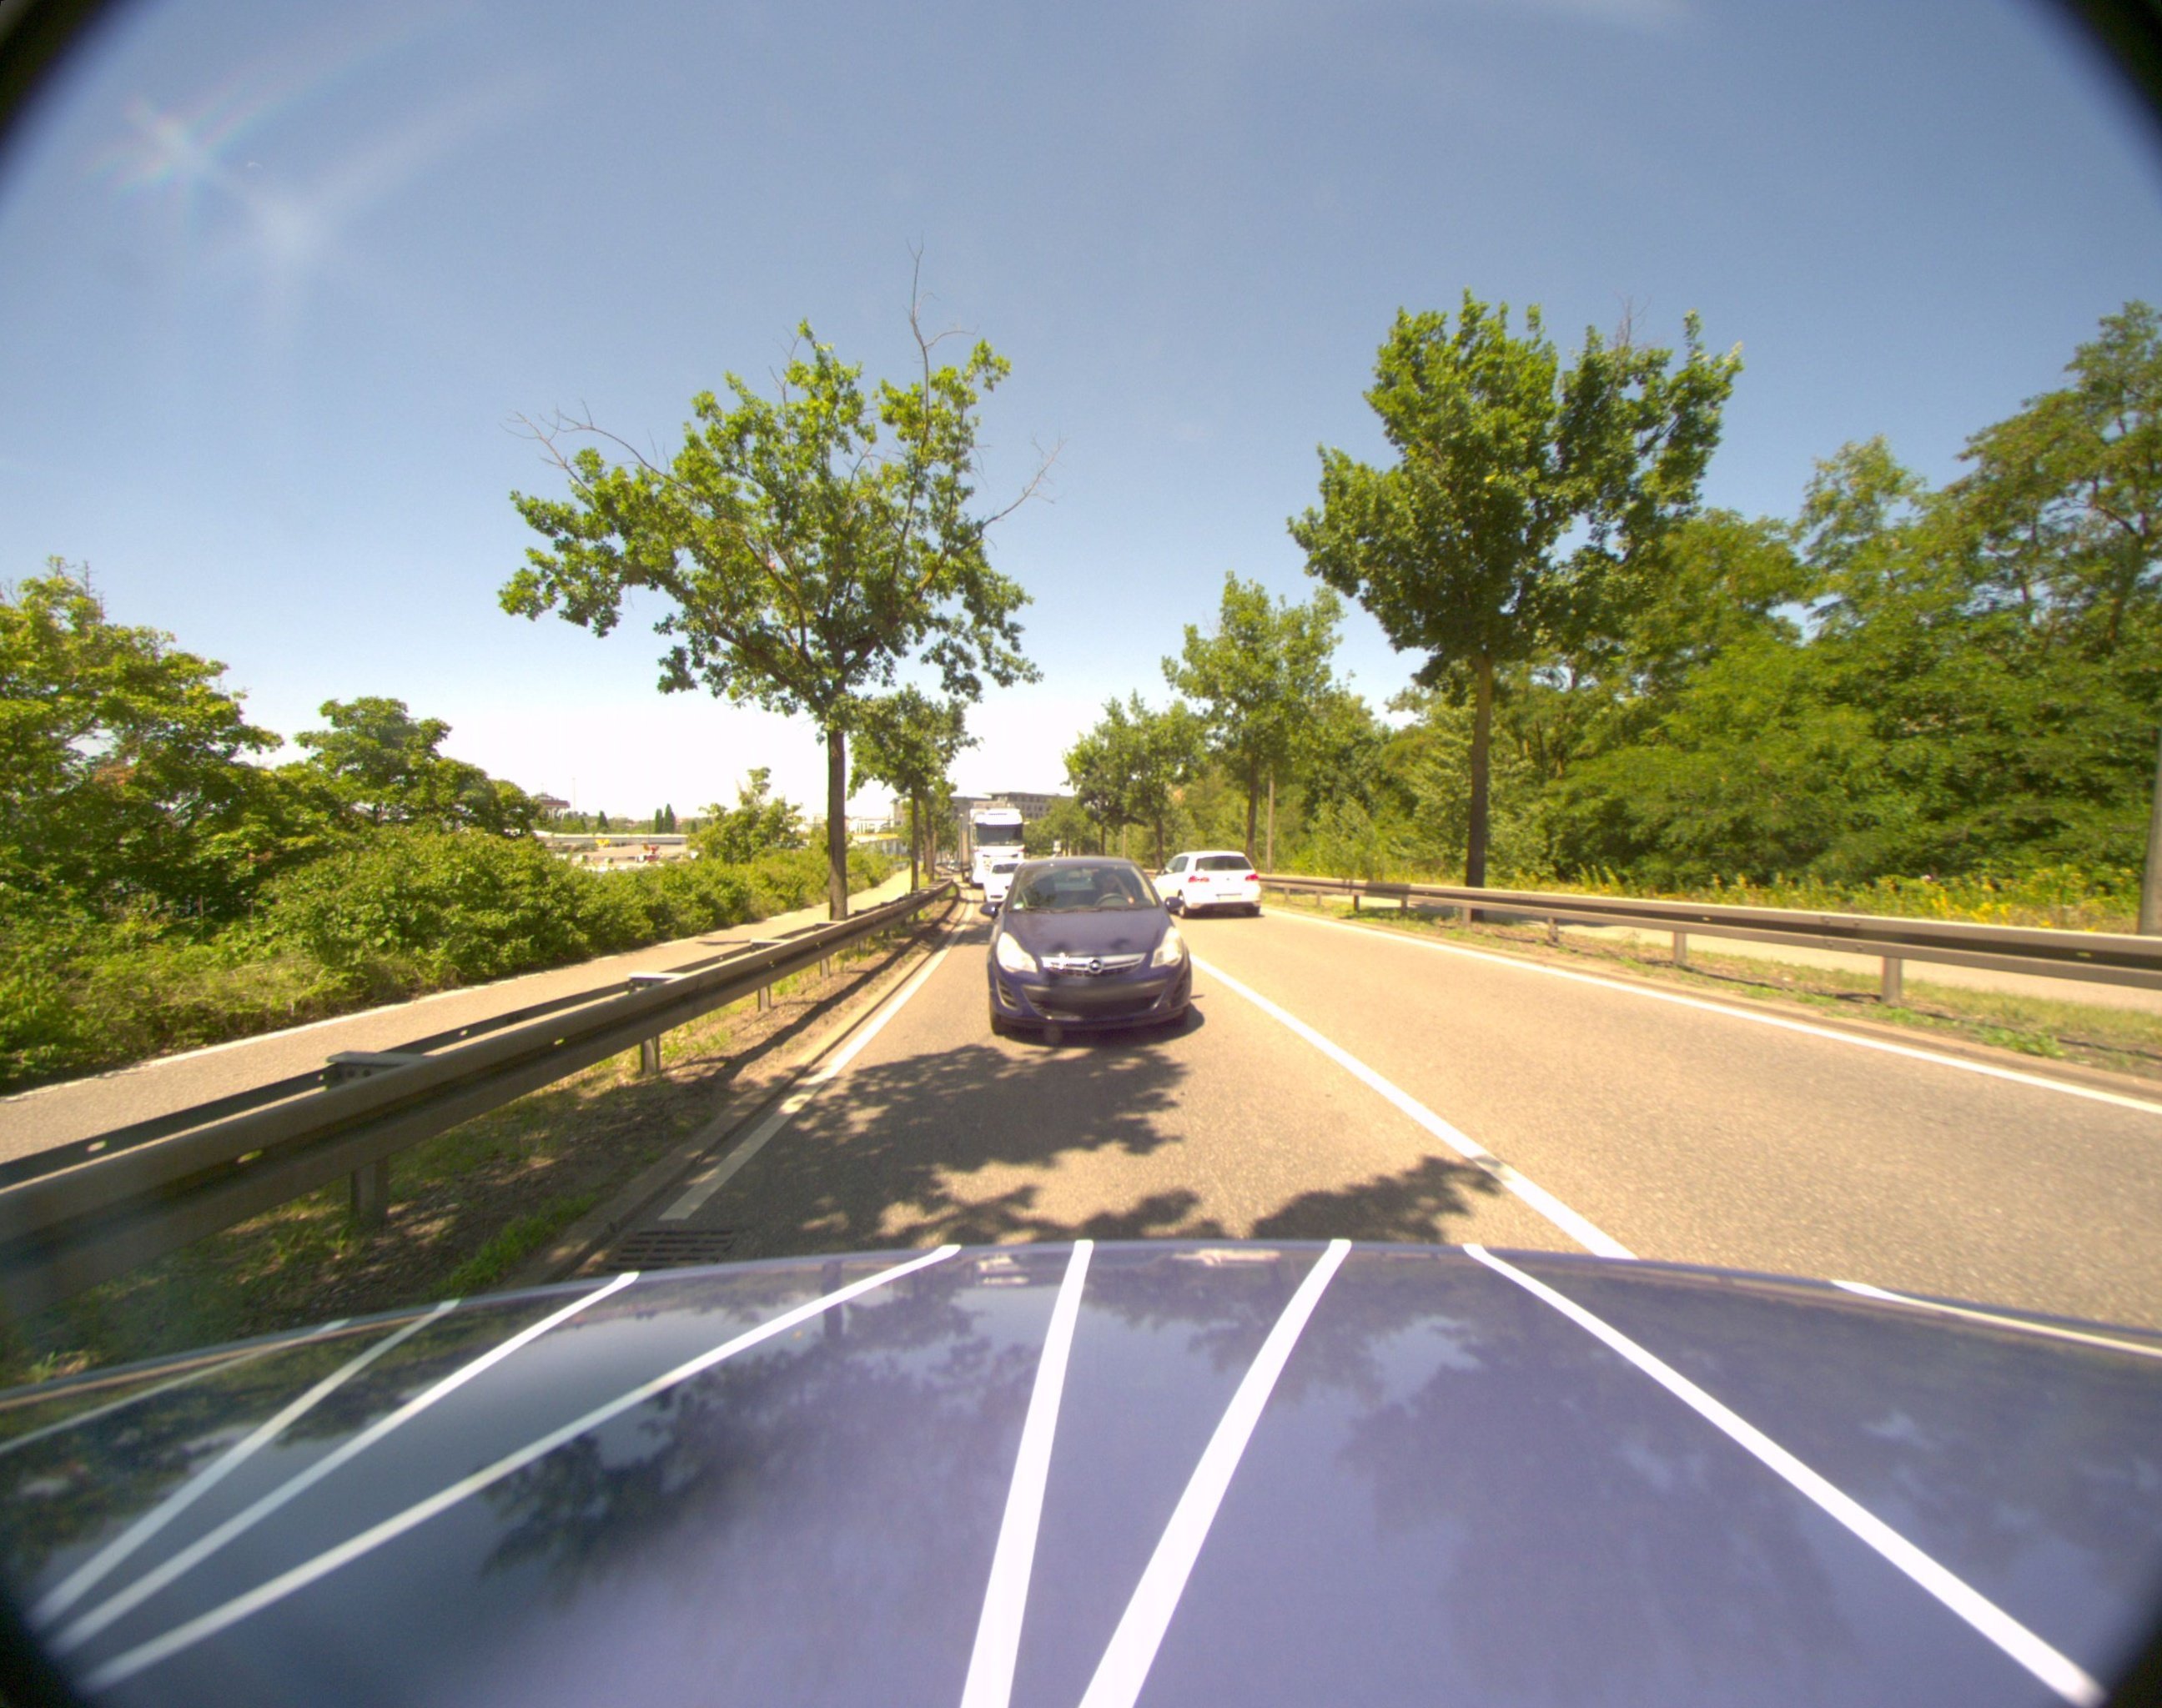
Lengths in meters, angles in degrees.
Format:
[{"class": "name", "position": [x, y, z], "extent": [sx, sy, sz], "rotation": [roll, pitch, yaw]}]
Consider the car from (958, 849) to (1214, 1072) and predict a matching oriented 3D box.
[{"class": "car", "position": [-0.049, 0.716, 7.352], "extent": [1.699, 1.459, 4.382], "rotation": [-2, 0, -2]}]

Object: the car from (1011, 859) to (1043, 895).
[{"class": "car", "position": [-2.263, 0.918, 31.469], "extent": [1.251, 1.376, 3.103], "rotation": [-2, 0, -5]}]

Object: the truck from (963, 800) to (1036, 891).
[{"class": "truck", "position": [-4.528, -0.425, 40.479], "extent": [2.860, 4.244, 8.806], "rotation": [-2, 0, -12]}]

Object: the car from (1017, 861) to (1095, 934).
[{"class": "car", "position": [-0.639, 0.900, 17.660], "extent": [1.570, 1.408, 4.120], "rotation": [-2, 0, -4]}]

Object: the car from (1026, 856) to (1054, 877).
[{"class": "car", "position": [-3.201, 0.931, 58.955], "extent": [1.751, 1.483, 3.730], "rotation": [-1, 0, -9]}]

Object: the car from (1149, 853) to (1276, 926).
[{"class": "car", "position": [2.901, 0.728, 17.670], "extent": [1.730, 1.430, 4.021], "rotation": [-2, 0, -8]}]

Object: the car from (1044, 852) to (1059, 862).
[{"class": "car", "position": [-4.715, 0.436, 120.764], "extent": [1.925, 1.406, 4.287], "rotation": [-1, 0, 4]}]

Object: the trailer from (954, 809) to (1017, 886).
[{"class": "trailer", "position": [-6.437, -0.372, 49.290], "extent": [2.883, 4.189, 13.993], "rotation": [-1, 0, -12]}]

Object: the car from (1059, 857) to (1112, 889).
[{"class": "car", "position": [0.142, 0.869, 37.057], "extent": [1.882, 1.372, 4.666], "rotation": [-2, 0, -8]}]

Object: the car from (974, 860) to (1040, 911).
[{"class": "car", "position": [-2.274, 0.934, 24.118], "extent": [1.817, 1.420, 3.714], "rotation": [-2, 0, -2]}]

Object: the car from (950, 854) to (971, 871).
[{"class": "car", "position": [-12.224, 0.825, 77.075], "extent": [1.977, 1.567, 3.997], "rotation": [-2, 0, -8]}]

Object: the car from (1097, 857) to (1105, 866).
[{"class": "car", "position": [4.801, 1.777, 183.326], "extent": [1.784, 2.002, 4.001], "rotation": [-1, 0, 4]}]
